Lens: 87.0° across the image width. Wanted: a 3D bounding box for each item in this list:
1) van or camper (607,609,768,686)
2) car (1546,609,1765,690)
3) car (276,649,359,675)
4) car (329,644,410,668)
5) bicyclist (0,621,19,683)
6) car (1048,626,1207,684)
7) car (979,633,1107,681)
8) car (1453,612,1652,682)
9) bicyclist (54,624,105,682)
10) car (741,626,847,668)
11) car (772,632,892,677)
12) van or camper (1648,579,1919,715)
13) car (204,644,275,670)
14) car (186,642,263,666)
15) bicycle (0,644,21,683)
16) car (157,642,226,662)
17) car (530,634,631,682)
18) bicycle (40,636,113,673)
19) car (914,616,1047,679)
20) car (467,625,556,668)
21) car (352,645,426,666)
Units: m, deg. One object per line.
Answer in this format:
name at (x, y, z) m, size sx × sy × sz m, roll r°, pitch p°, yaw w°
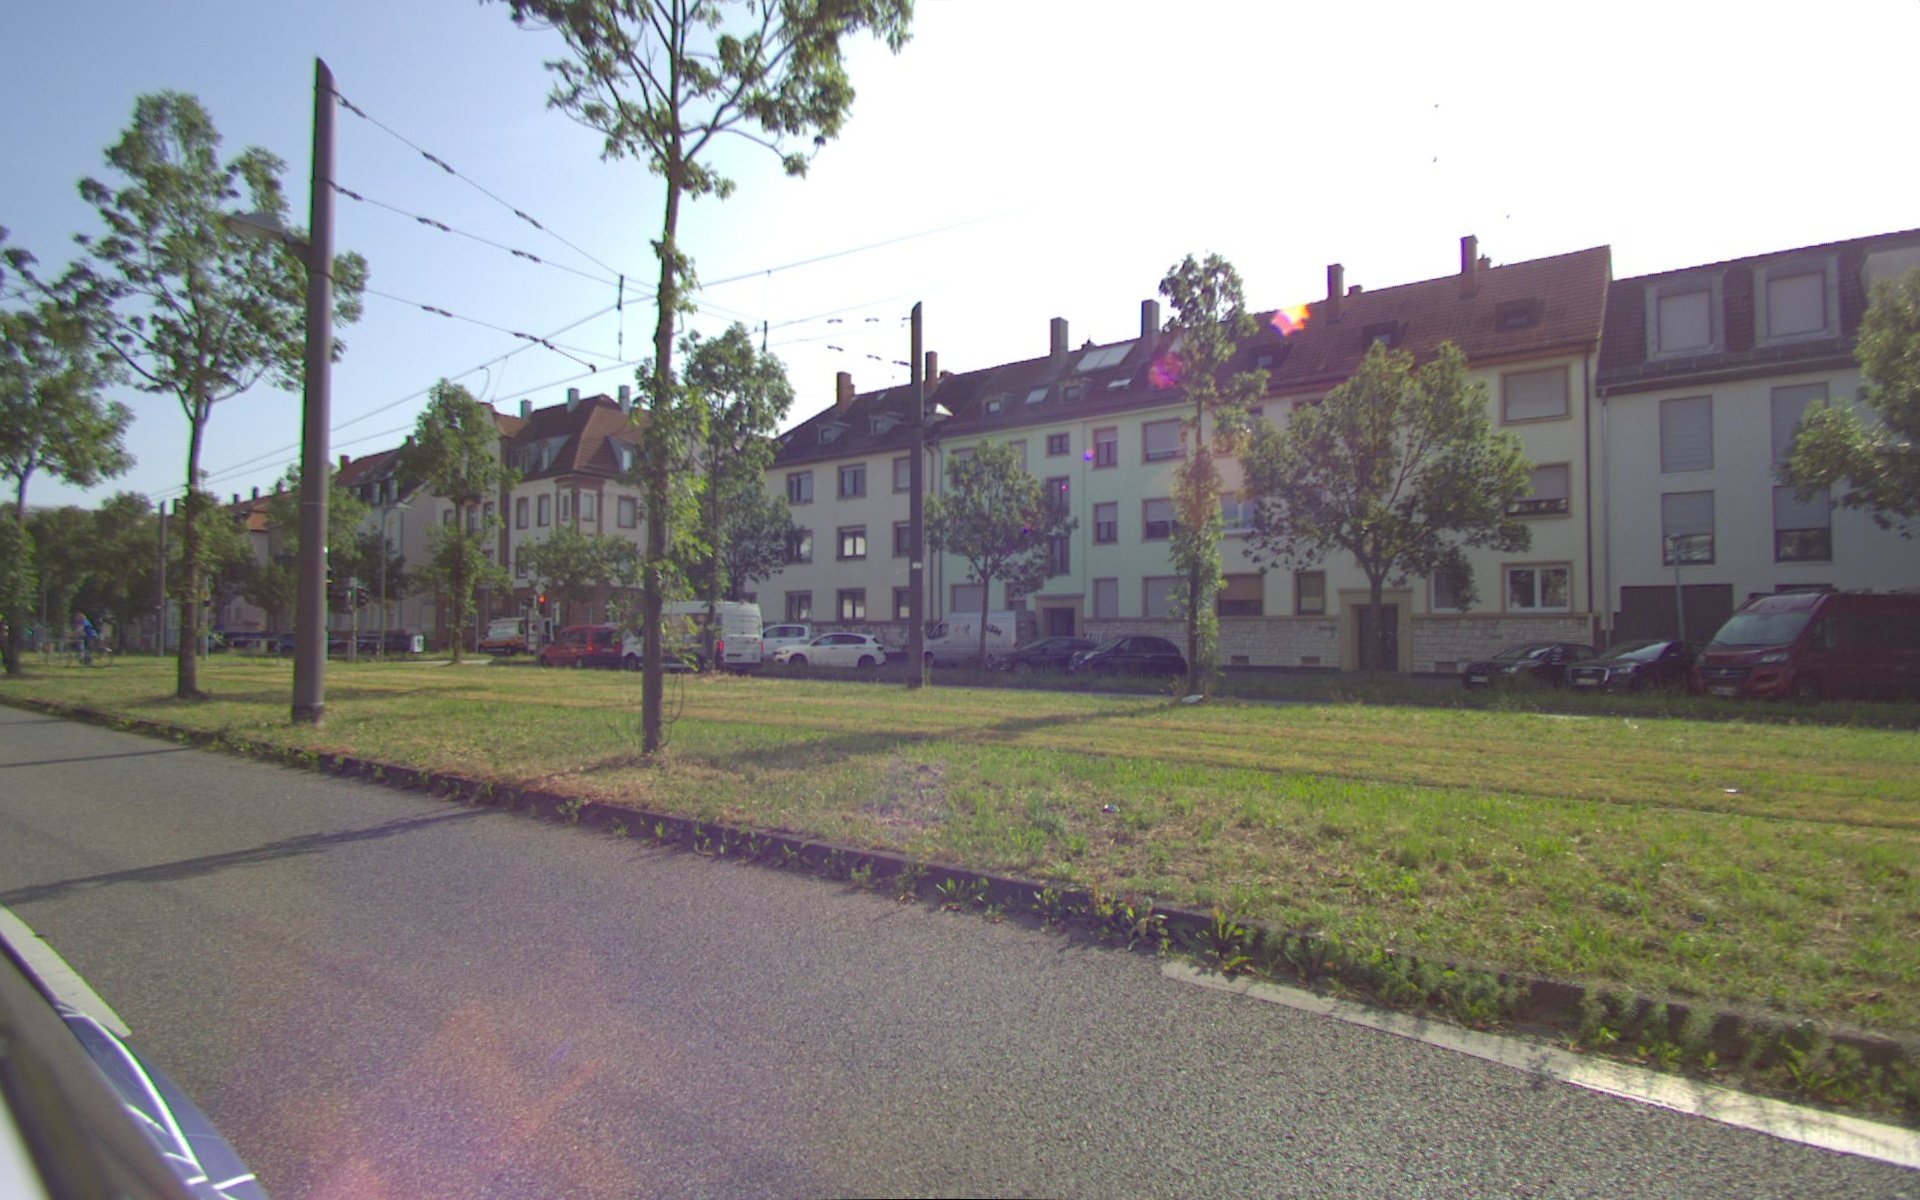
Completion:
van or camper at (-9.580, 1.645, 35.350) m, size 6.048 × 2.493 × 2.121 m, roll -1°, pitch -4°, yaw 37°
car at (15.819, 1.083, 23.077) m, size 4.083 × 1.628 × 1.874 m, roll 0°, pitch 2°, yaw -14°
car at (-43.238, 4.162, 68.229) m, size 4.437 × 1.451 × 2.006 m, roll -1°, pitch 0°, yaw -21°
car at (-38.312, 3.605, 65.756) m, size 4.268 × 1.336 × 2.006 m, roll -1°, pitch 0°, yaw -21°
bicyclist at (-29.149, 1.563, 30.442) m, size 0.892 × 1.836 × 0.874 m, roll 1°, pitch -3°, yaw -19°
car at (5.066, 1.630, 30.795) m, size 4.278 × 1.541 × 2.005 m, roll -1°, pitch 0°, yaw -13°
car at (2.645, 1.806, 32.605) m, size 3.713 × 1.353 × 1.778 m, roll -1°, pitch 0°, yaw -15°
car at (14.584, 1.117, 24.997) m, size 4.083 × 1.520 × 1.874 m, roll 0°, pitch 2°, yaw -14°
bicyclist at (-29.300, 1.746, 33.705) m, size 1.168 × 1.864 × 0.913 m, roll -1°, pitch -1°, yaw -35°
car at (-6.672, 1.854, 40.564) m, size 4.029 × 1.541 × 1.818 m, roll -1°, pitch 0°, yaw -15°
car at (-4.909, 2.053, 38.707) m, size 4.293 × 1.486 × 1.863 m, roll -1°, pitch 0°, yaw -15°
van or camper at (17.896, 0.921, 21.174) m, size 6.057 × 2.566 × 2.421 m, roll 0°, pitch -2°, yaw -16°
car at (-53.010, 4.162, 74.544) m, size 3.930 × 1.719 × 1.881 m, roll -1°, pitch 0°, yaw -24°
car at (-56.638, 4.135, 78.017) m, size 4.423 × 1.617 × 2.007 m, roll -1°, pitch 0°, yaw -24°
bicycle at (-28.983, 1.906, 30.315) m, size 0.567 × 1.154 × 1.758 m, roll 1°, pitch -3°, yaw -20°
car at (-66.671, 4.496, 87.921) m, size 4.423 × 1.502 × 2.007 m, roll -1°, pitch 0°, yaw -24°
car at (-14.898, 2.247, 39.658) m, size 4.156 × 1.751 × 1.798 m, roll -1°, pitch -4°, yaw 39°
bicycle at (-29.328, 1.799, 33.630) m, size 1.764 × 1.154 × 0.578 m, roll -1°, pitch -1°, yaw -36°
car at (0.813, 1.982, 43.033) m, size 5.571 × 2.482 × 1.974 m, roll -1°, pitch -1°, yaw 39°
car at (-29.280, 2.986, 65.914) m, size 6.494 × 2.583 × 2.328 m, roll -1°, pitch -1°, yaw 36°
car at (-35.168, 3.396, 62.411) m, size 3.783 × 1.136 × 1.775 m, roll -1°, pitch 0°, yaw -21°
